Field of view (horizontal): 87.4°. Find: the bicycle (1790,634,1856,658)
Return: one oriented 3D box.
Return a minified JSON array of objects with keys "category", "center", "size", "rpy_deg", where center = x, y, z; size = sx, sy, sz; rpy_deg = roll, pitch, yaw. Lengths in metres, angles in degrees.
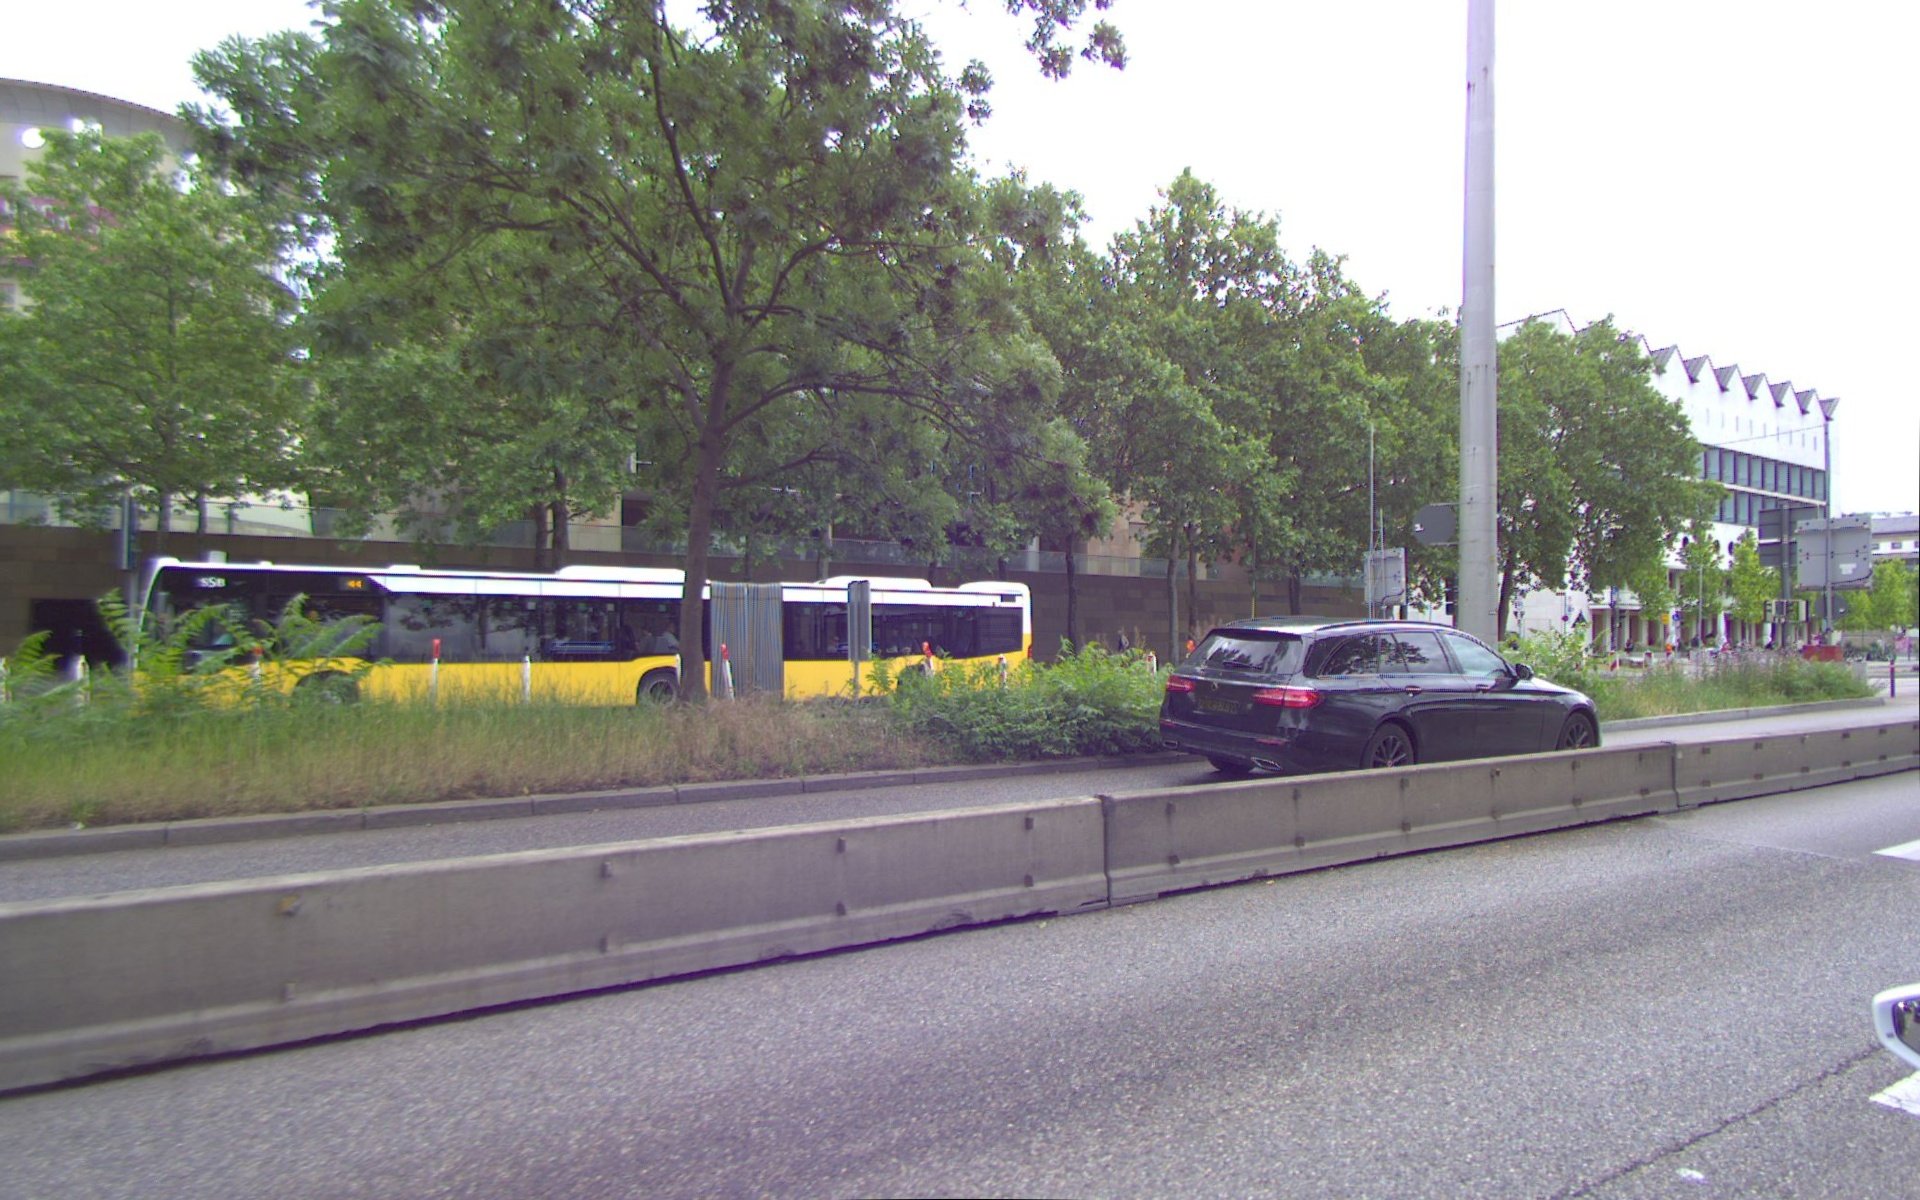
[{"category":"bicycle","center":[63.782,3.367,74.267],"size":[1.173,1.706,3.583],"rpy_deg":[2,-3,-40]}]

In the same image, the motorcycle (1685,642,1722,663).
[{"category":"motorcycle","center":[46.578,3.275,62.968],"size":[1.859,1.249,0.657],"rpy_deg":[-1,-4,36]}]

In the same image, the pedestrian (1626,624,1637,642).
[{"category":"pedestrian","center":[52.520,2.590,78.563],"size":[0.558,1.344,0.516],"rpy_deg":[3,-3,-29]}]

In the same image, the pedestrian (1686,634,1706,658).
[{"category":"pedestrian","center":[48.037,3.015,65.566],"size":[0.865,1.577,0.598],"rpy_deg":[0,-2,18]}]

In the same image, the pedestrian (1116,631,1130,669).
[{"category":"pedestrian","center":[7.103,2.179,43.811],"size":[0.440,1.629,0.351],"rpy_deg":[2,0,-36]}]

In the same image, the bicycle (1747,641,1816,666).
[{"category":"bicycle","center":[58.669,3.824,71.802],"size":[1.169,1.706,3.596],"rpy_deg":[1,-2,-30]}]

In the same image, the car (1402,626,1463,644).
[{"category":"car","center":[36.230,2.683,77.105],"size":[1.731,1.293,3.969],"rpy_deg":[2,-2,-29]}]

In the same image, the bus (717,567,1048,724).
[{"category":"bus","center":[-1.784,1.106,24.619],"size":[7.616,3.347,2.909],"rpy_deg":[2,-2,-30]}]

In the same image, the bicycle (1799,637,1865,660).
[{"category":"bicycle","center":[65.455,3.629,75.436],"size":[1.173,1.706,3.583],"rpy_deg":[2,-3,-40]}]

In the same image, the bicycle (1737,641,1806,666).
[{"category":"bicycle","center":[56.755,3.712,70.309],"size":[1.169,1.706,3.596],"rpy_deg":[1,-2,-30]}]

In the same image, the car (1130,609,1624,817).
[{"category":"car","center":[4.050,0.931,9.469],"size":[4.809,1.479,1.802],"rpy_deg":[2,0,-32]}]

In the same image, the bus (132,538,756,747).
[{"category":"bus","center":[-9.517,0.857,20.019],"size":[10.330,3.348,2.898],"rpy_deg":[2,-2,-31]}]
